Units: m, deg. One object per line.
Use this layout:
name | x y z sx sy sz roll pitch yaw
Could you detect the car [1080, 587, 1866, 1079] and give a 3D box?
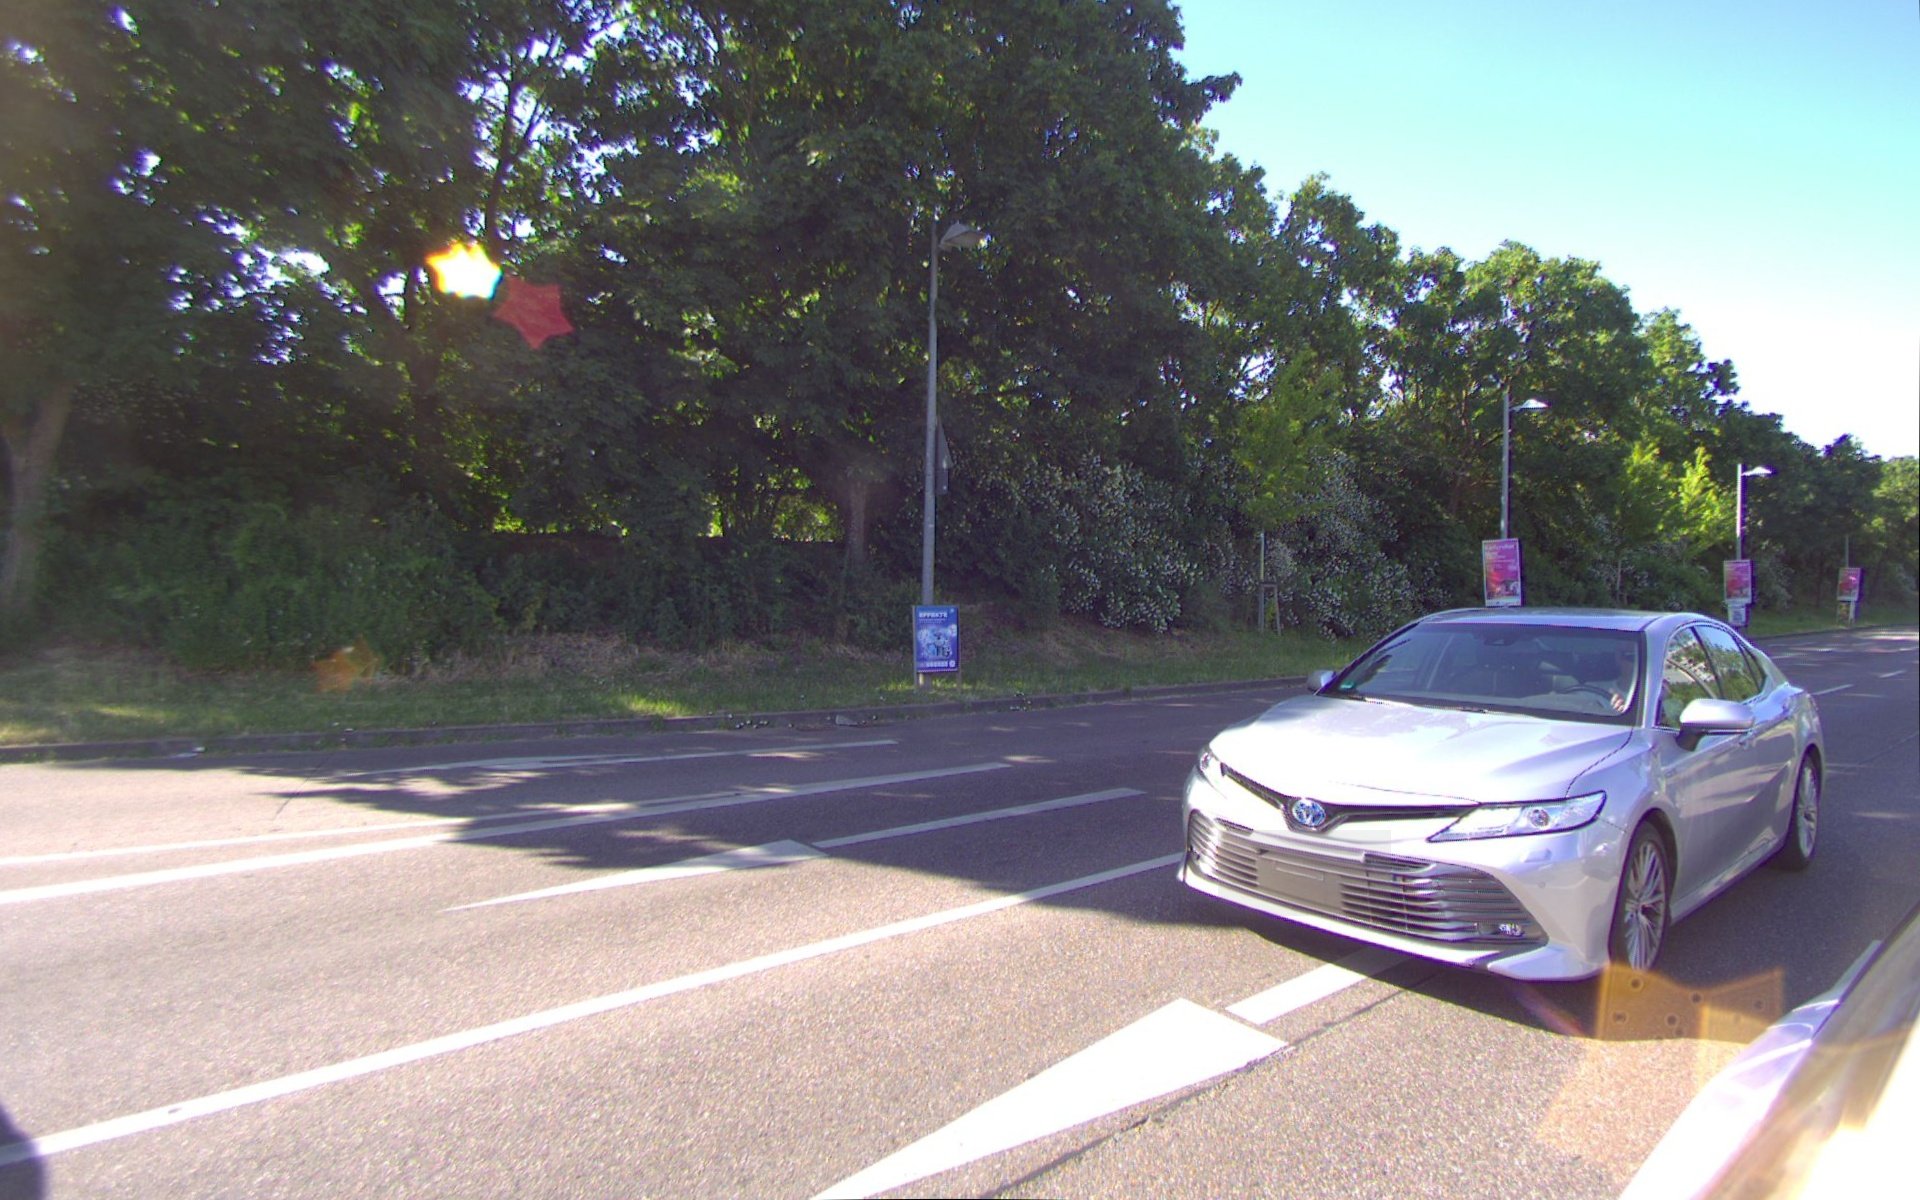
car | 3.008 0.699 5.409 4.664 1.477 2.069 0 2 -40
